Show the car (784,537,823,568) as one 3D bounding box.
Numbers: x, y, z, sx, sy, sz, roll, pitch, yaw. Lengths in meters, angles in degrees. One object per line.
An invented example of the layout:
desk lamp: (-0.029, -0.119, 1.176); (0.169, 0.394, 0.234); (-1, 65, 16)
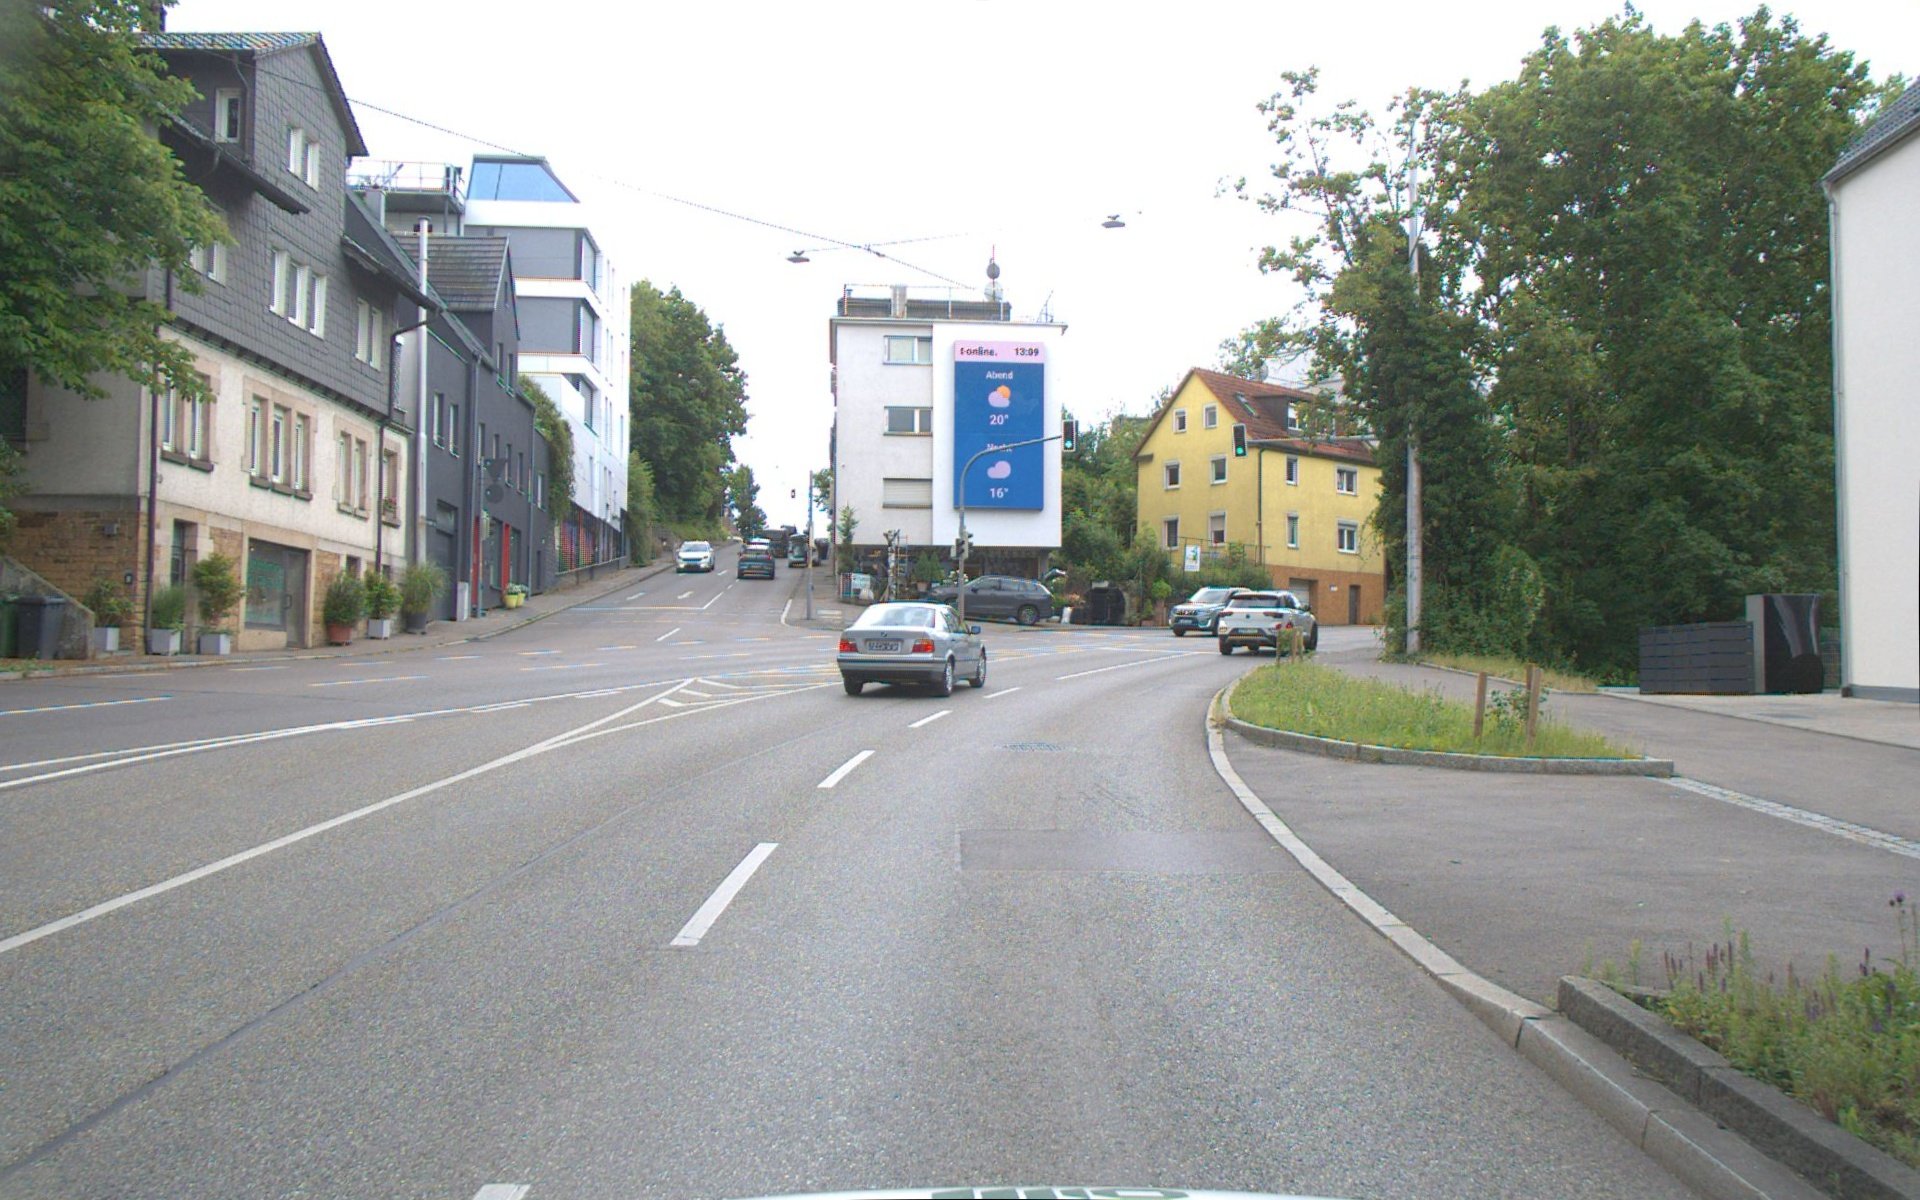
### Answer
car: (-8.970, -2.707, 94.979); (2.048, 1.641, 3.998); (1, 1, -3)

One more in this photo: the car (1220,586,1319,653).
car: (7.906, 0.454, 42.031); (1.743, 1.606, 4.000); (1, 0, 22)

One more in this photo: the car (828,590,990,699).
car: (-0.702, 0.624, 25.726); (1.670, 1.489, 4.004); (2, 1, 10)

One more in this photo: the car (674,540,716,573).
car: (-13.904, -2.307, 87.026); (1.846, 1.594, 4.386); (0, 3, -5)

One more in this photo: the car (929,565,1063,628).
car: (1.281, -0.143, 60.638); (4.597, 1.741, 2.317); (5, 3, -5)

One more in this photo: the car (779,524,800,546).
car: (-16.867, -6.447, 163.833); (1.954, 2.049, 3.997); (1, 1, -4)

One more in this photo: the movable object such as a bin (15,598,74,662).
movable object such as a bin: (-15.222, 0.502, 27.502); (0.526, 1.037, 0.647); (0, -2, 13)

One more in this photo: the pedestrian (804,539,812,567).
pedestrian: (-8.615, -2.643, 93.775); (0.449, 1.556, 0.527); (1, -1, -3)

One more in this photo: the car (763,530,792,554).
car: (-11.992, -3.810, 108.876); (1.759, 1.490, 3.997); (1, 1, -4)

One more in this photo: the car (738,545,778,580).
car: (-9.868, -1.815, 81.030); (1.745, 1.606, 3.997); (1, 1, -4)

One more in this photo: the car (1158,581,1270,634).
car: (8.662, 0.260, 56.077); (1.866, 1.725, 4.326); (0, 0, 38)

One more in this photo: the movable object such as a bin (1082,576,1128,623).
movable object such as a bin: (5.791, -0.020, 65.977); (1.725, 1.810, 1.856); (0, 0, 9)

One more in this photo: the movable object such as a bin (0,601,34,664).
movable object such as a bin: (-15.957, 0.541, 27.605); (0.565, 1.037, 0.647); (0, -2, 13)
